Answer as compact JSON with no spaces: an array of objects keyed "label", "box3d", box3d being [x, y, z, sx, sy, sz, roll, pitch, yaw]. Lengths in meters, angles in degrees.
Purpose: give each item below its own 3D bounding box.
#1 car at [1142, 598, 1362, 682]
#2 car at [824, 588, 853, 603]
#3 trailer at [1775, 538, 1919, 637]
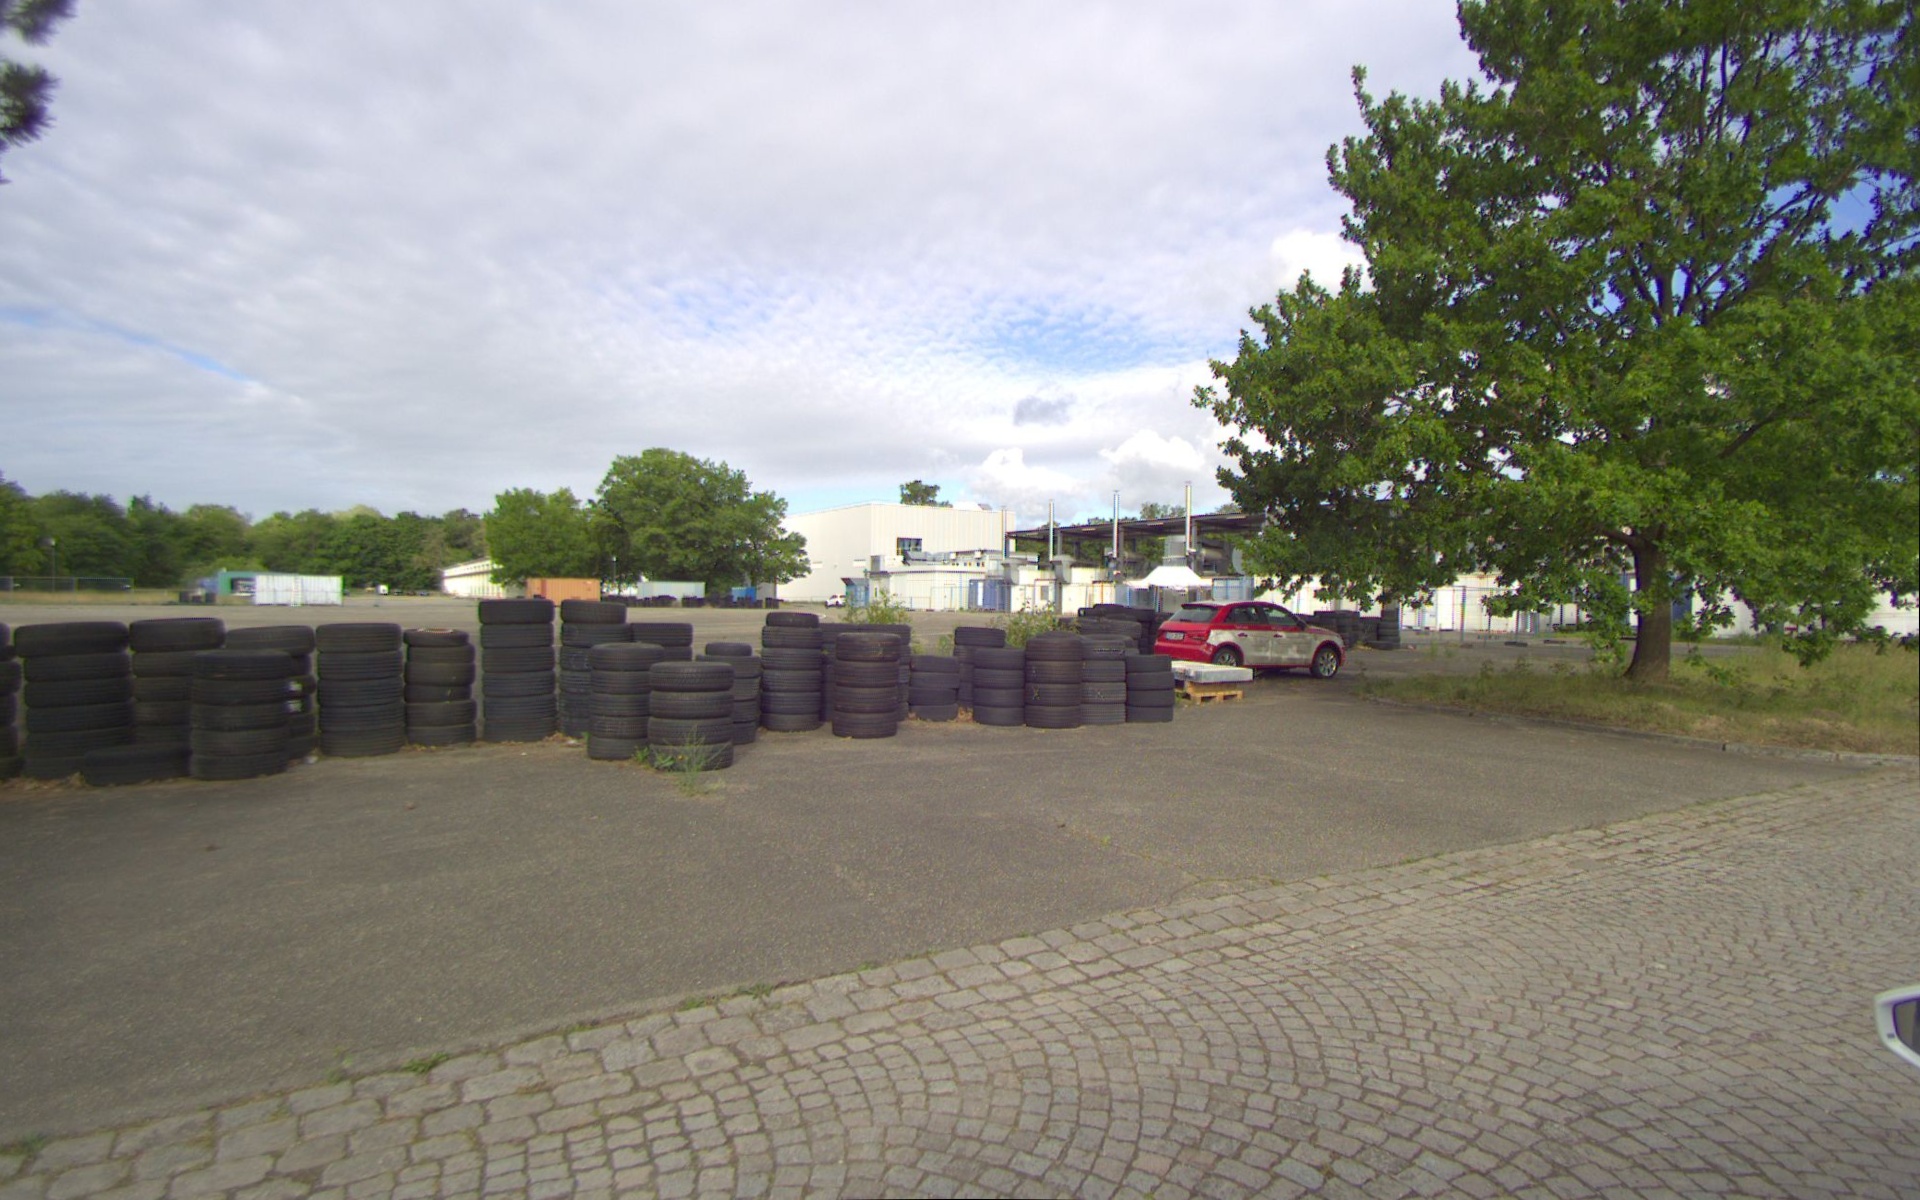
[{"label":"car","box3d":[5.594,0.700,19.187,4.010,1.453,1.620,0,1,-26]},{"label":"car","box3d":[-13.677,-0.529,113.186,1.809,1.655,4.085,0,1,-30]},{"label":"trailer","box3d":[36.857,-0.420,40.558,10.054,3.646,2.613,1,1,-30]}]
